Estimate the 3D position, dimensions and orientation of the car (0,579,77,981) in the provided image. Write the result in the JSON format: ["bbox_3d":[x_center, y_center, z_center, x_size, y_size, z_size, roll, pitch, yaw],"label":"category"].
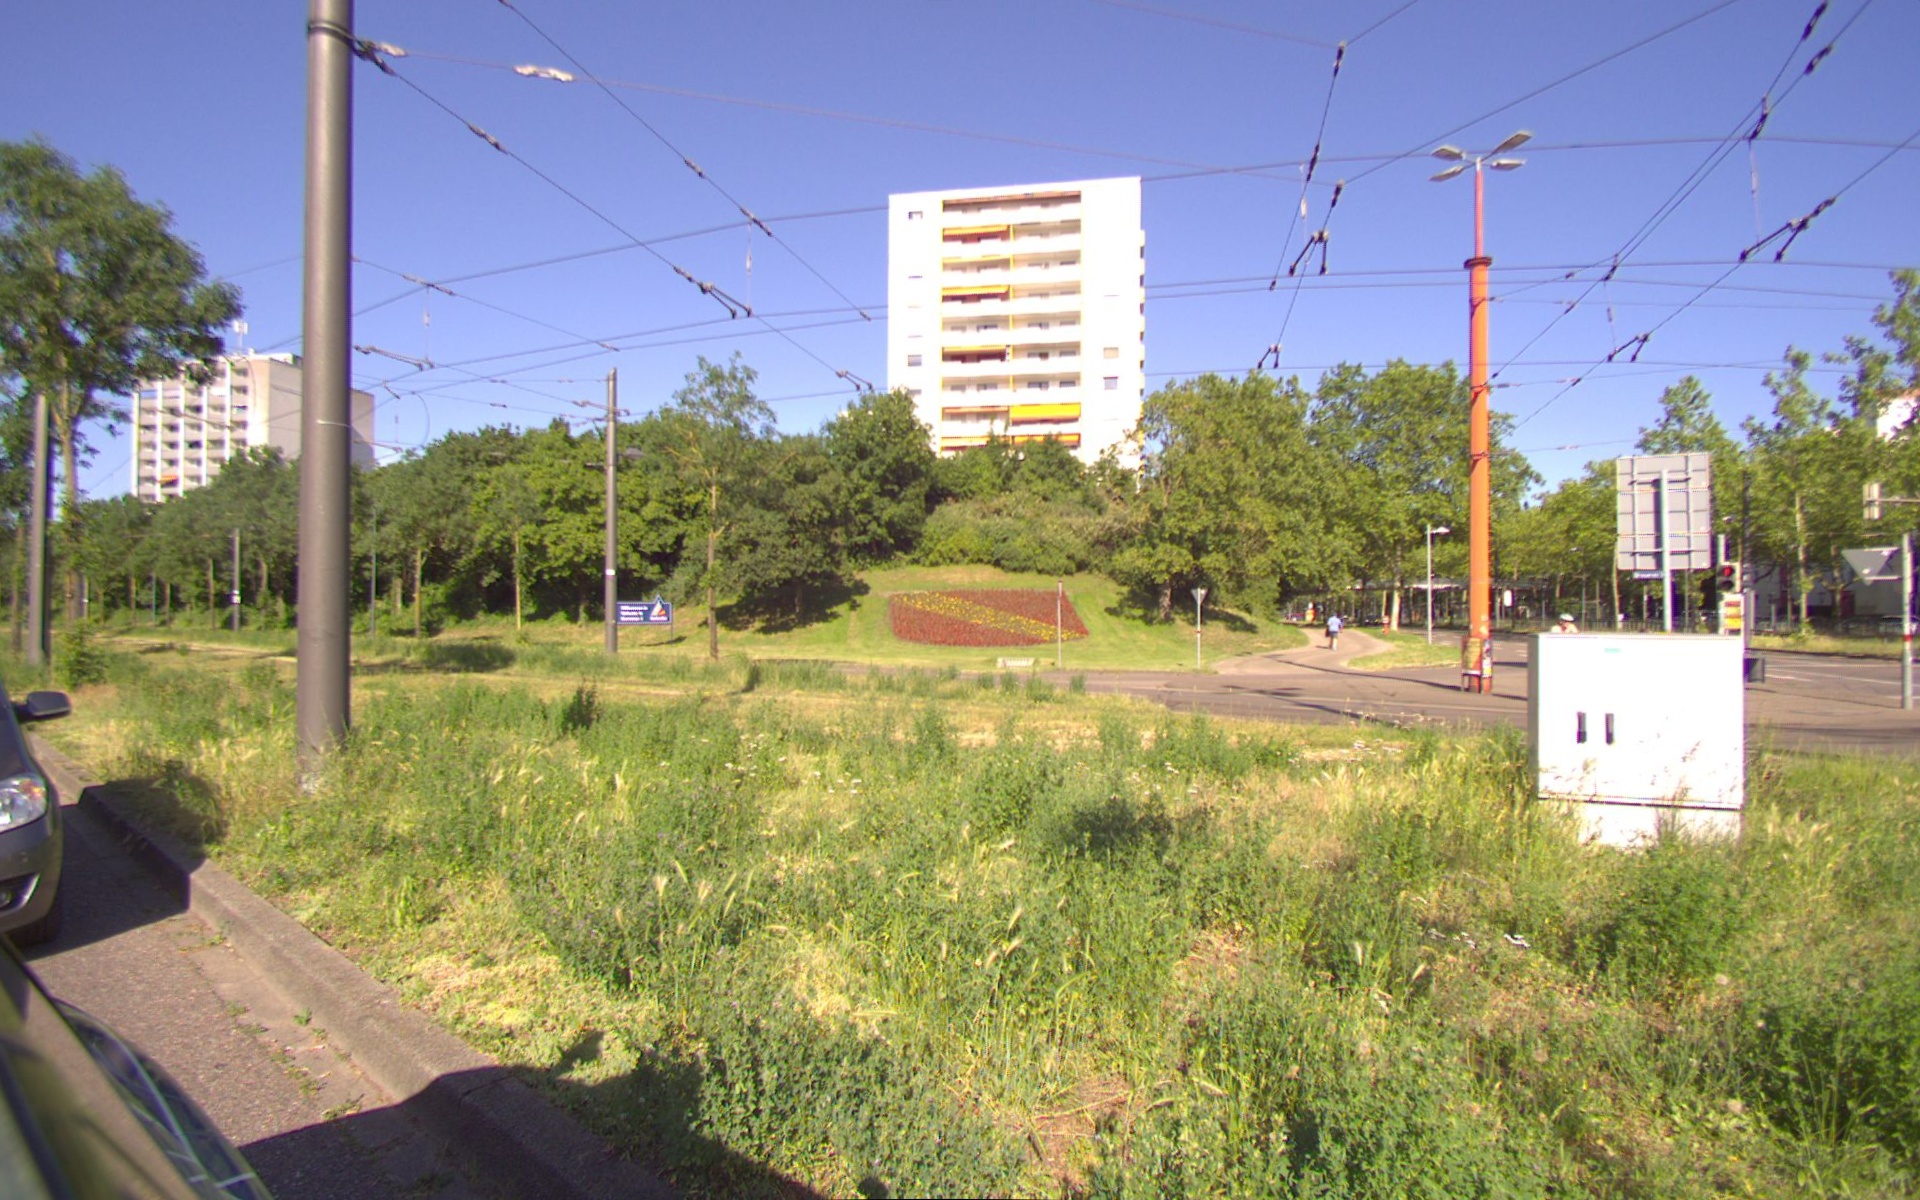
[{"bbox_3d":[-5.947,0.751,5.040,4.382,1.619,1.754,-1,-2,41],"label":"car"}]

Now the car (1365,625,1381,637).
[{"bbox_3d":[58.153,4.326,142.521,1.928,1.606,3.882,-1,-1,20],"label":"car"}]

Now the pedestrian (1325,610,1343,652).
[{"bbox_3d":[17.639,1.469,47.760,0.729,1.949,0.726,-1,-2,24],"label":"pedestrian"}]

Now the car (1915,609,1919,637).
[{"bbox_3d":[64.396,1.505,65.904,3.931,1.829,2.006,1,-2,-27],"label":"car"}]

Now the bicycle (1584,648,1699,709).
[{"bbox_3d":[13.350,1.518,19.914,0.915,1.095,1.888,0,-1,-2],"label":"bicycle"}]

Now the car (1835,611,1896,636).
[{"bbox_3d":[66.006,1.699,73.762,3.931,1.829,2.006,1,-2,-27],"label":"car"}]

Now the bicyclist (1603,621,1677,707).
[{"bbox_3d":[13.346,1.239,19.880,0.920,1.650,0.741,0,-1,-1],"label":"bicyclist"}]

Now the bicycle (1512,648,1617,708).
[{"bbox_3d":[12.084,1.533,20.316,0.915,1.095,1.888,0,-1,-2],"label":"bicycle"}]

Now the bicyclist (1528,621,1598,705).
[{"bbox_3d":[12.089,1.256,20.299,0.920,1.650,0.741,0,-1,-1],"label":"bicyclist"}]

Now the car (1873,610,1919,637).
[{"bbox_3d":[65.238,1.643,69.866,3.931,1.829,2.006,1,-2,-27],"label":"car"}]
